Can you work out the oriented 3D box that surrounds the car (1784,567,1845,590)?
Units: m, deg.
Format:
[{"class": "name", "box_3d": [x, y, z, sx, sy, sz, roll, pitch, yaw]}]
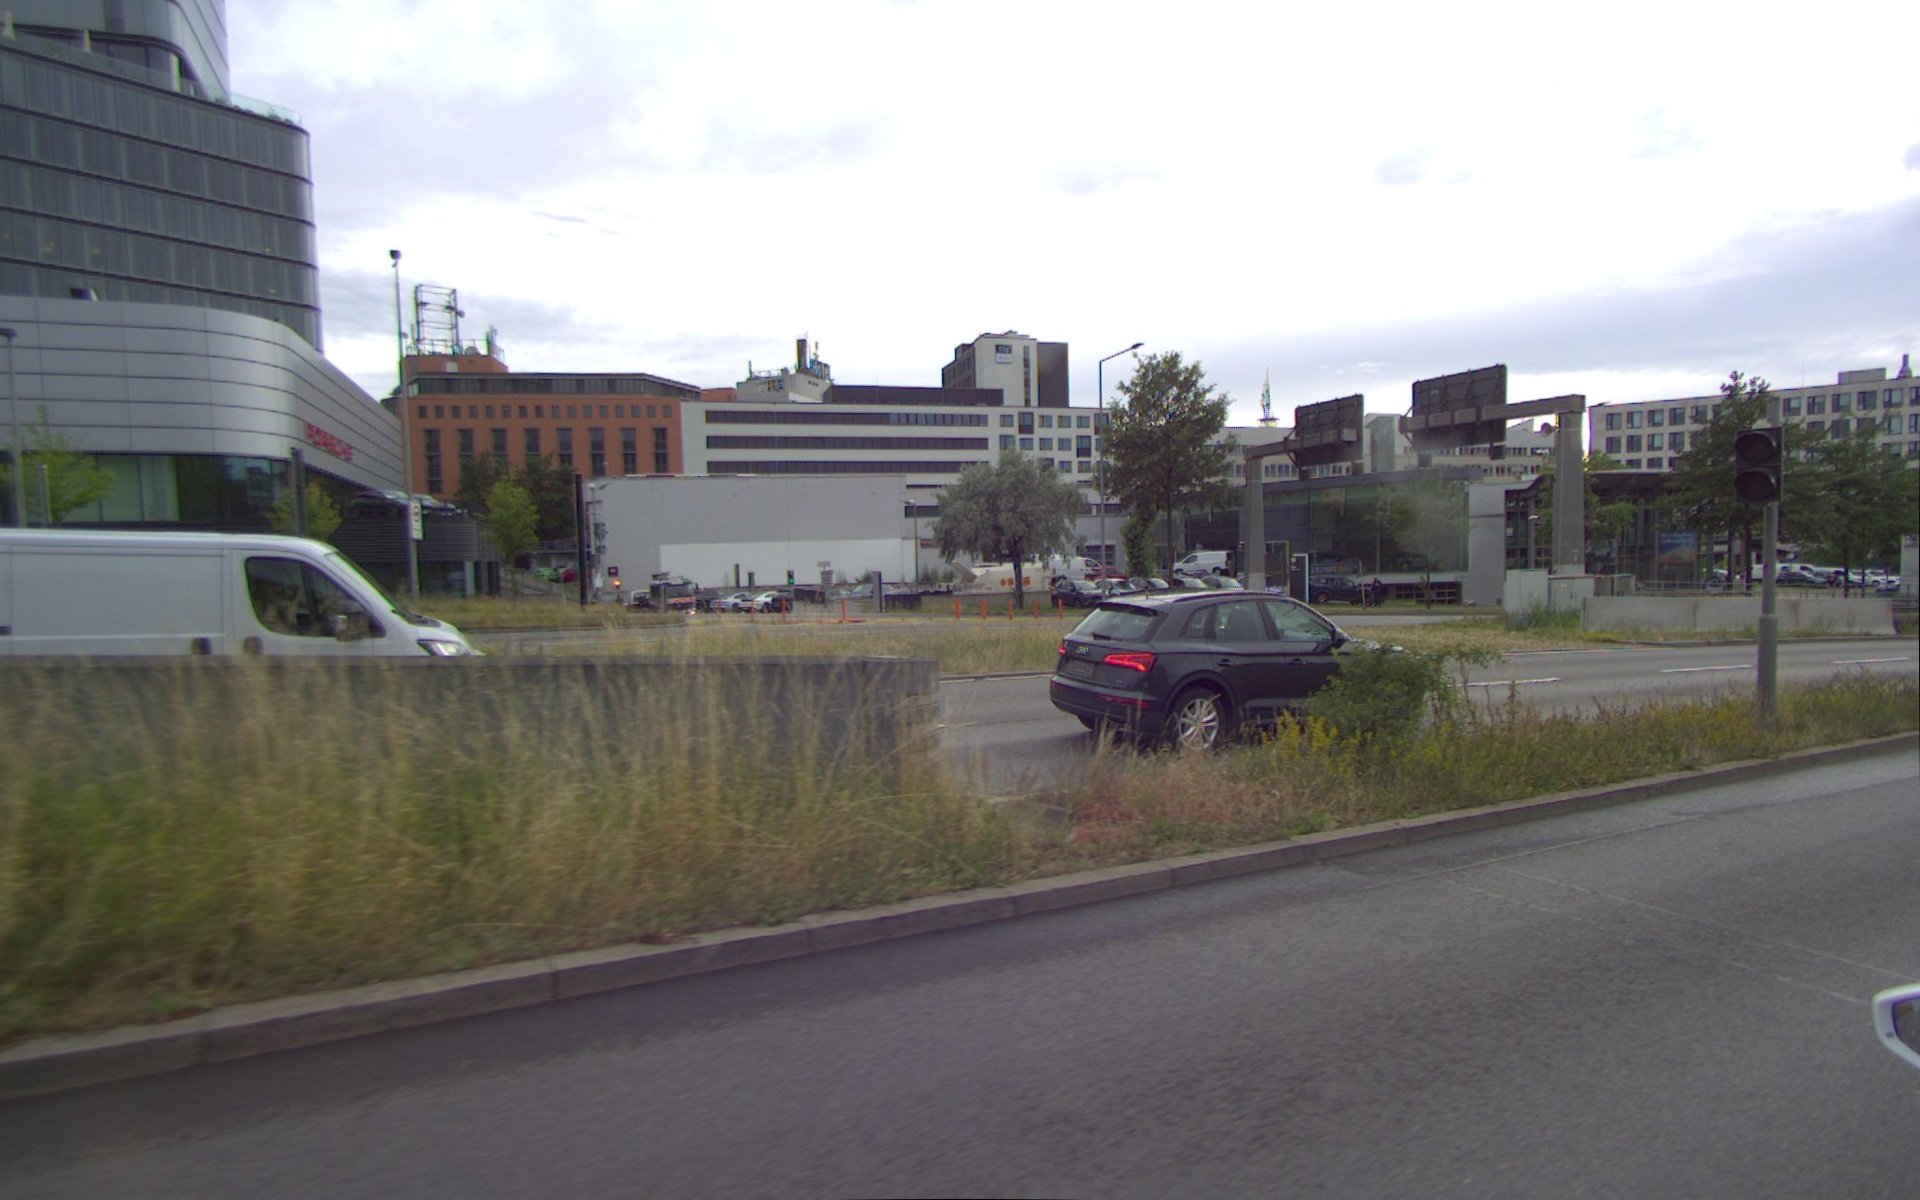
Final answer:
[{"class": "car", "box_3d": [82.210, -2.061, 96.747, 1.968, 2.041, 3.984, 0, 3, -18]}]

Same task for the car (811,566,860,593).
[{"class": "car", "box_3d": [-9.013, -1.505, 72.969, 1.960, 1.729, 3.999, 1, 5, 18]}]

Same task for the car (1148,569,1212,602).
[{"class": "car", "box_3d": [13.289, -0.920, 60.888, 1.895, 1.707, 3.978, -3, 5, -21]}]

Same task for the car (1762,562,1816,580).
[{"class": "car", "box_3d": [86.704, -3.056, 105.114, 1.797, 1.673, 3.973, -3, 5, -26]}]

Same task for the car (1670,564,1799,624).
[{"class": "car", "box_3d": [23.939, -0.226, 31.045, 3.500, 1.612, 1.682, -3, 5, -25]}]

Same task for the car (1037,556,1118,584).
[{"class": "car", "box_3d": [8.367, -2.164, 71.574, 5.447, 1.907, 1.992, 0, 5, -17]}]

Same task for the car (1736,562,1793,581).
[{"class": "car", "box_3d": [81.414, -2.865, 101.690, 1.972, 1.673, 3.975, -3, 5, -24]}]

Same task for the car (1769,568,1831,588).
[{"class": "car", "box_3d": [79.854, -2.124, 95.527, 1.972, 1.673, 3.975, -3, 5, -24]}]

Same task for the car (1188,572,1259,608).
[{"class": "car", "box_3d": [14.793, -0.590, 56.545, 1.895, 1.707, 3.978, -3, 5, -21]}]

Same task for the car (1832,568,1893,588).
[{"class": "car", "box_3d": [89.350, -2.183, 99.511, 1.968, 1.673, 3.983, -2, 5, -17]}]

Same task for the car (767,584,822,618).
[{"class": "car", "box_3d": [-11.110, 0.019, 67.629, 1.960, 1.908, 3.999, 1, 5, 18]}]

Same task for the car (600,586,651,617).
[{"class": "car", "box_3d": [-22.244, 0.069, 66.735, 1.981, 1.707, 3.957, -4, 6, -37]}]

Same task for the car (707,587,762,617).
[{"class": "car", "box_3d": [-15.676, 0.109, 70.000, 1.960, 1.707, 3.999, 1, 5, 18]}]

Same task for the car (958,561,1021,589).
[{"class": "car", "box_3d": [2.054, -1.755, 70.003, 3.936, 1.707, 1.915, -2, 5, -18]}]

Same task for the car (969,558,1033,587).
[{"class": "car", "box_3d": [2.740, -1.877, 67.934, 3.936, 1.707, 1.915, -2, 5, -18]}]

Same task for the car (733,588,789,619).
[{"class": "car", "box_3d": [-13.502, 0.222, 68.320, 1.960, 1.707, 3.999, 1, 5, 18]}]

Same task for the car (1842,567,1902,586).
[{"class": "car", "box_3d": [91.513, -2.374, 100.851, 1.968, 1.673, 3.983, -2, 5, -17]}]

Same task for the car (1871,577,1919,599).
[{"class": "car", "box_3d": [80.933, -1.001, 86.089, 3.936, 1.673, 1.991, 4, 5, 38]}]

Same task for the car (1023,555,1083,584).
[{"class": "car", "box_3d": [6.842, -2.238, 73.594, 3.935, 1.908, 1.992, -2, 5, -17]}]

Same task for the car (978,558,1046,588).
[{"class": "car", "box_3d": [3.362, -1.770, 65.114, 3.936, 1.707, 1.915, -2, 5, -18]}]

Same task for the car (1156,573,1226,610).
[{"class": "car", "box_3d": [12.740, -0.493, 55.723, 1.895, 1.707, 3.978, -3, 5, -21]}]

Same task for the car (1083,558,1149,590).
[{"class": "car", "box_3d": [10.293, -1.769, 66.379, 3.935, 1.908, 1.900, -2, 5, -17]}]

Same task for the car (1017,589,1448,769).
[{"class": "car", "box_3d": [3.116, 0.752, 11.336, 4.685, 1.639, 1.745, 0, 3, -26]}]

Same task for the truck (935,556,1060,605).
[{"class": "truck", "box_3d": [2.281, -1.247, 61.273, 7.299, 2.563, 2.361, -3, 5, -21]}]

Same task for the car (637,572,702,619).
[{"class": "car", "box_3d": [-18.206, -0.350, 62.788, 2.505, 2.524, 5.106, -4, 6, -33]}]

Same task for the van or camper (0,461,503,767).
[{"class": "van or camper", "box_3d": [-7.422, 0.102, 9.539, 5.464, 2.472, 2.194, 1, 1, -29]}]

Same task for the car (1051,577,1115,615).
[{"class": "car", "box_3d": [6.456, -0.246, 53.056, 1.674, 1.622, 3.992, -3, 5, -21]}]

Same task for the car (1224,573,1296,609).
[{"class": "car", "box_3d": [17.099, -0.548, 57.478, 1.895, 1.707, 3.978, -3, 5, -21]}]

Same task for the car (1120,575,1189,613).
[{"class": "car", "box_3d": [10.550, -0.374, 54.775, 1.895, 1.707, 3.978, -3, 5, -21]}]

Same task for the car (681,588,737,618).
[{"class": "car", "box_3d": [-17.831, 0.182, 71.467, 1.960, 1.707, 3.999, 1, 5, 18]}]

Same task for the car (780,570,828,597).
[{"class": "car", "box_3d": [-11.663, -1.254, 75.370, 1.960, 1.729, 3.999, 1, 5, 18]}]

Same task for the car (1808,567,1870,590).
[{"class": "car", "box_3d": [84.696, -2.102, 96.864, 1.968, 1.902, 3.983, -2, 5, -17]}]

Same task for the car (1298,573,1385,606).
[{"class": "car", "box_3d": [22.488, -0.627, 59.314, 4.416, 1.707, 1.921, -1, 5, -4]}]

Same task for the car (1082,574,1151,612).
[{"class": "car", "box_3d": [8.346, -0.421, 53.851, 1.895, 1.707, 3.978, -3, 5, -21]}]

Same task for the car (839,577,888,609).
[{"class": "car", "box_3d": [-6.803, -0.542, 71.073, 1.960, 1.908, 3.999, 1, 5, 18]}]

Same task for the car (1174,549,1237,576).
[{"class": "car", "box_3d": [17.705, -2.739, 72.497, 3.936, 1.807, 1.915, 3, 6, 38]}]
